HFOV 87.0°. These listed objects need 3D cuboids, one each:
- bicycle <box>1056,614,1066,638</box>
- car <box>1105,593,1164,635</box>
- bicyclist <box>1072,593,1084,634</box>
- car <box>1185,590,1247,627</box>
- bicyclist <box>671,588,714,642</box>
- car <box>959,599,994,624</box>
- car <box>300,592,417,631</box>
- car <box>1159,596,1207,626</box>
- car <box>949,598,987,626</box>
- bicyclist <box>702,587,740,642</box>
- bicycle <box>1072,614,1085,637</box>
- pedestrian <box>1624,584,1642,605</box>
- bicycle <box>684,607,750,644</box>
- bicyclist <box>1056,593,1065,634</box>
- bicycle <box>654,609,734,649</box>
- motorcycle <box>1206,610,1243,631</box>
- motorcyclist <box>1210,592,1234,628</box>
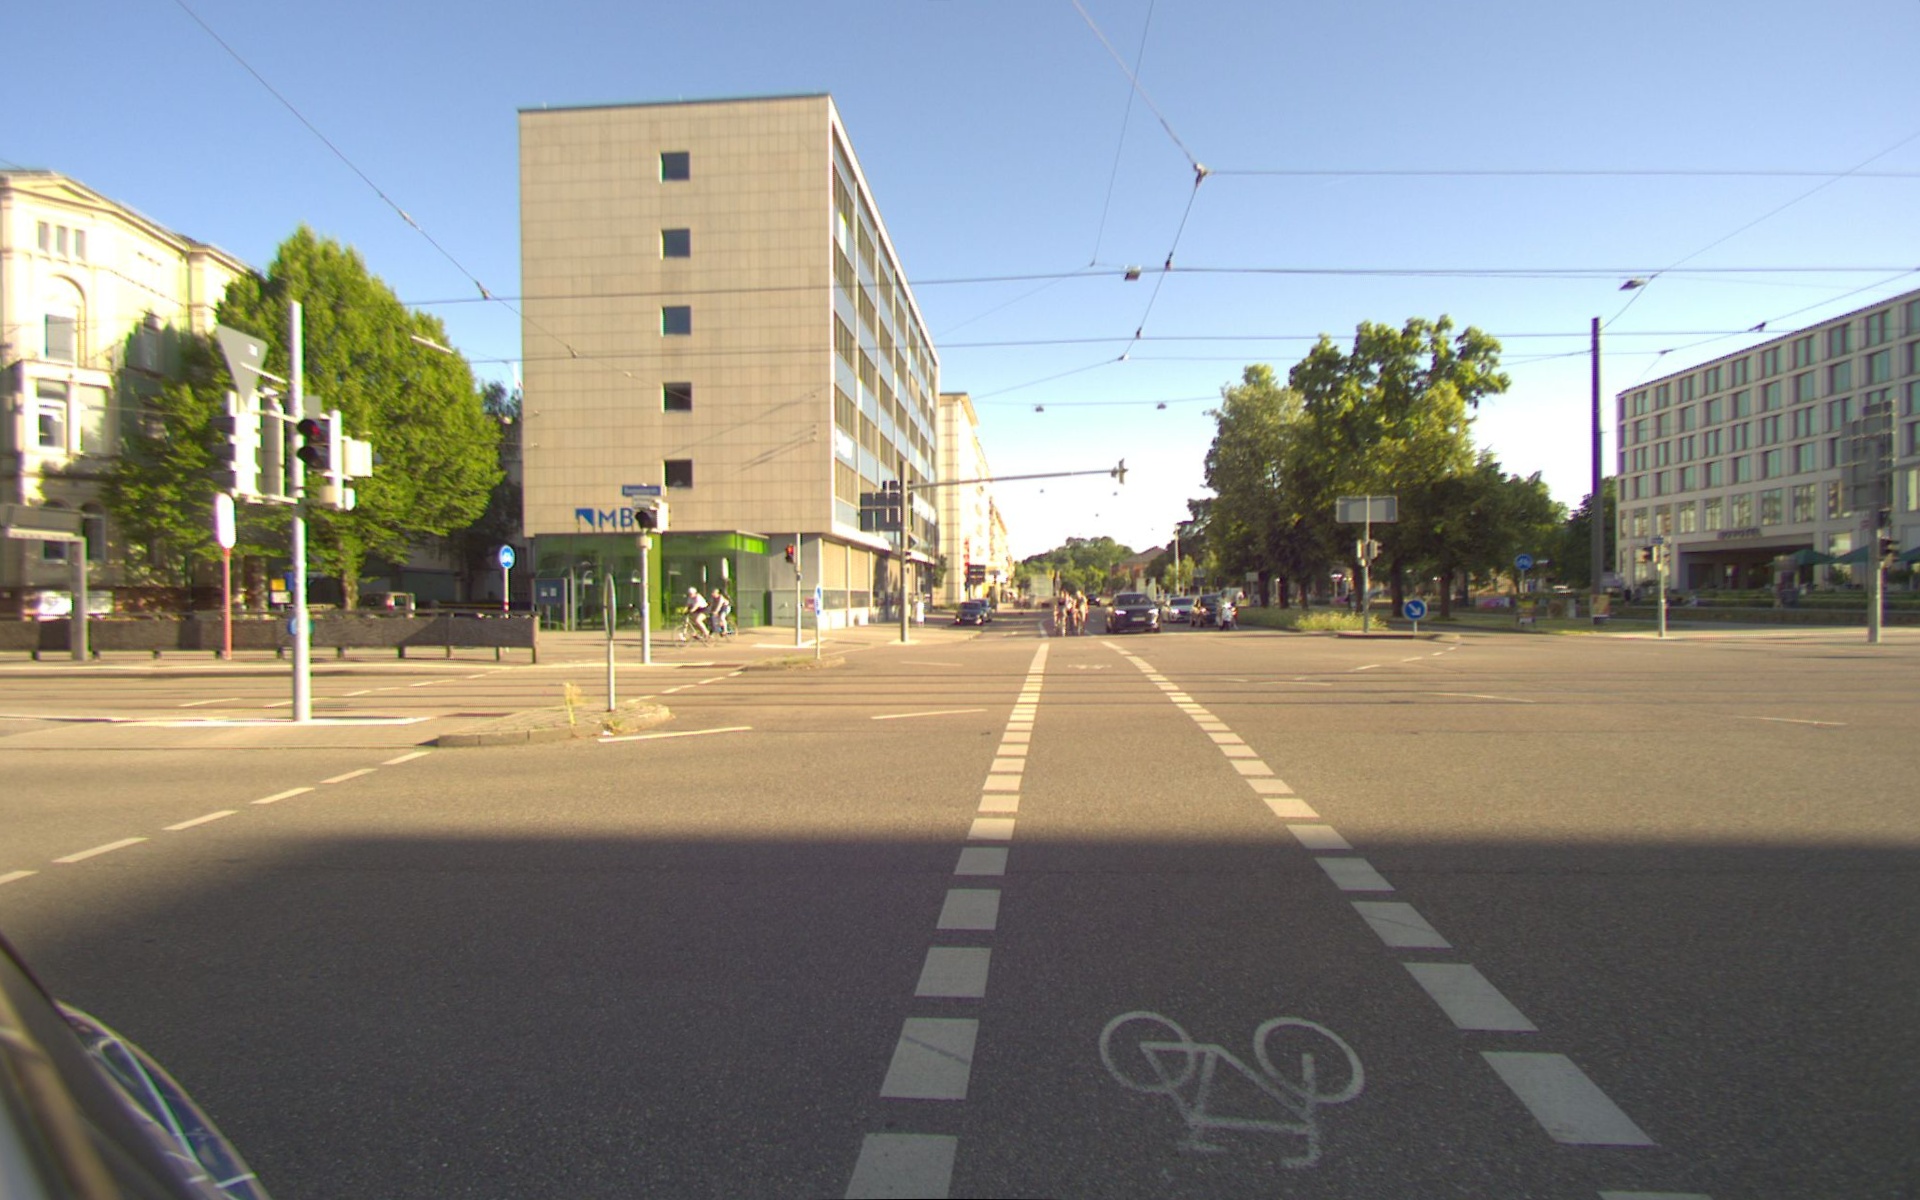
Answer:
[{"bbox_3d":[3.973,1.015,39.994,0.347,0.880,1.383,-1,0,4],"label":"bicycle"},{"bbox_3d":[7.081,0.552,41.456,1.975,1.585,4.542,-1,0,5],"label":"car"},{"bbox_3d":[4.676,0.535,40.075,0.448,1.588,0.535,-1,0,5],"label":"bicyclist"},{"bbox_3d":[11.729,0.382,46.630,1.975,1.585,4.542,-1,0,5],"label":"car"},{"bbox_3d":[-7.935,0.425,30.022,0.893,1.518,0.890,-1,3,-43],"label":"bicyclist"},{"bbox_3d":[1.137,0.755,67.314,1.975,1.585,4.543,-1,0,5],"label":"car"},{"bbox_3d":[-25.631,0.476,43.212,3.944,1.597,1.740,0,2,1],"label":"car"},{"bbox_3d":[12.255,0.597,55.797,1.975,1.585,4.543,-1,0,5],"label":"car"},{"bbox_3d":[0.507,0.715,61.291,1.975,1.585,4.543,-1,0,5],"label":"car"},{"bbox_3d":[-7.606,0.449,32.165,0.931,1.703,0.766,0,3,-38],"label":"bicyclist"},{"bbox_3d":[4.684,1.009,40.136,0.447,0.880,1.383,-1,0,4],"label":"bicycle"},{"bbox_3d":[48.750,-0.392,73.339,0.775,1.537,0.761,-1,0,5],"label":"pedestrian"},{"bbox_3d":[-7.702,0.789,32.081,1.877,1.075,0.757,-1,3,-38],"label":"bicycle"},{"bbox_3d":[3.968,0.522,39.994,0.354,1.588,0.535,-1,0,5],"label":"bicyclist"},{"bbox_3d":[-7.892,0.842,30.087,2.149,1.075,0.885,-1,3,-42],"label":"bicycle"},{"bbox_3d":[10.737,0.828,41.124,1.308,0.801,0.615,-1,0,42],"label":"motorcycle"},{"bbox_3d":[10.673,0.416,41.176,0.736,1.457,0.599,-1,0,42],"label":"motorcyclist"}]
